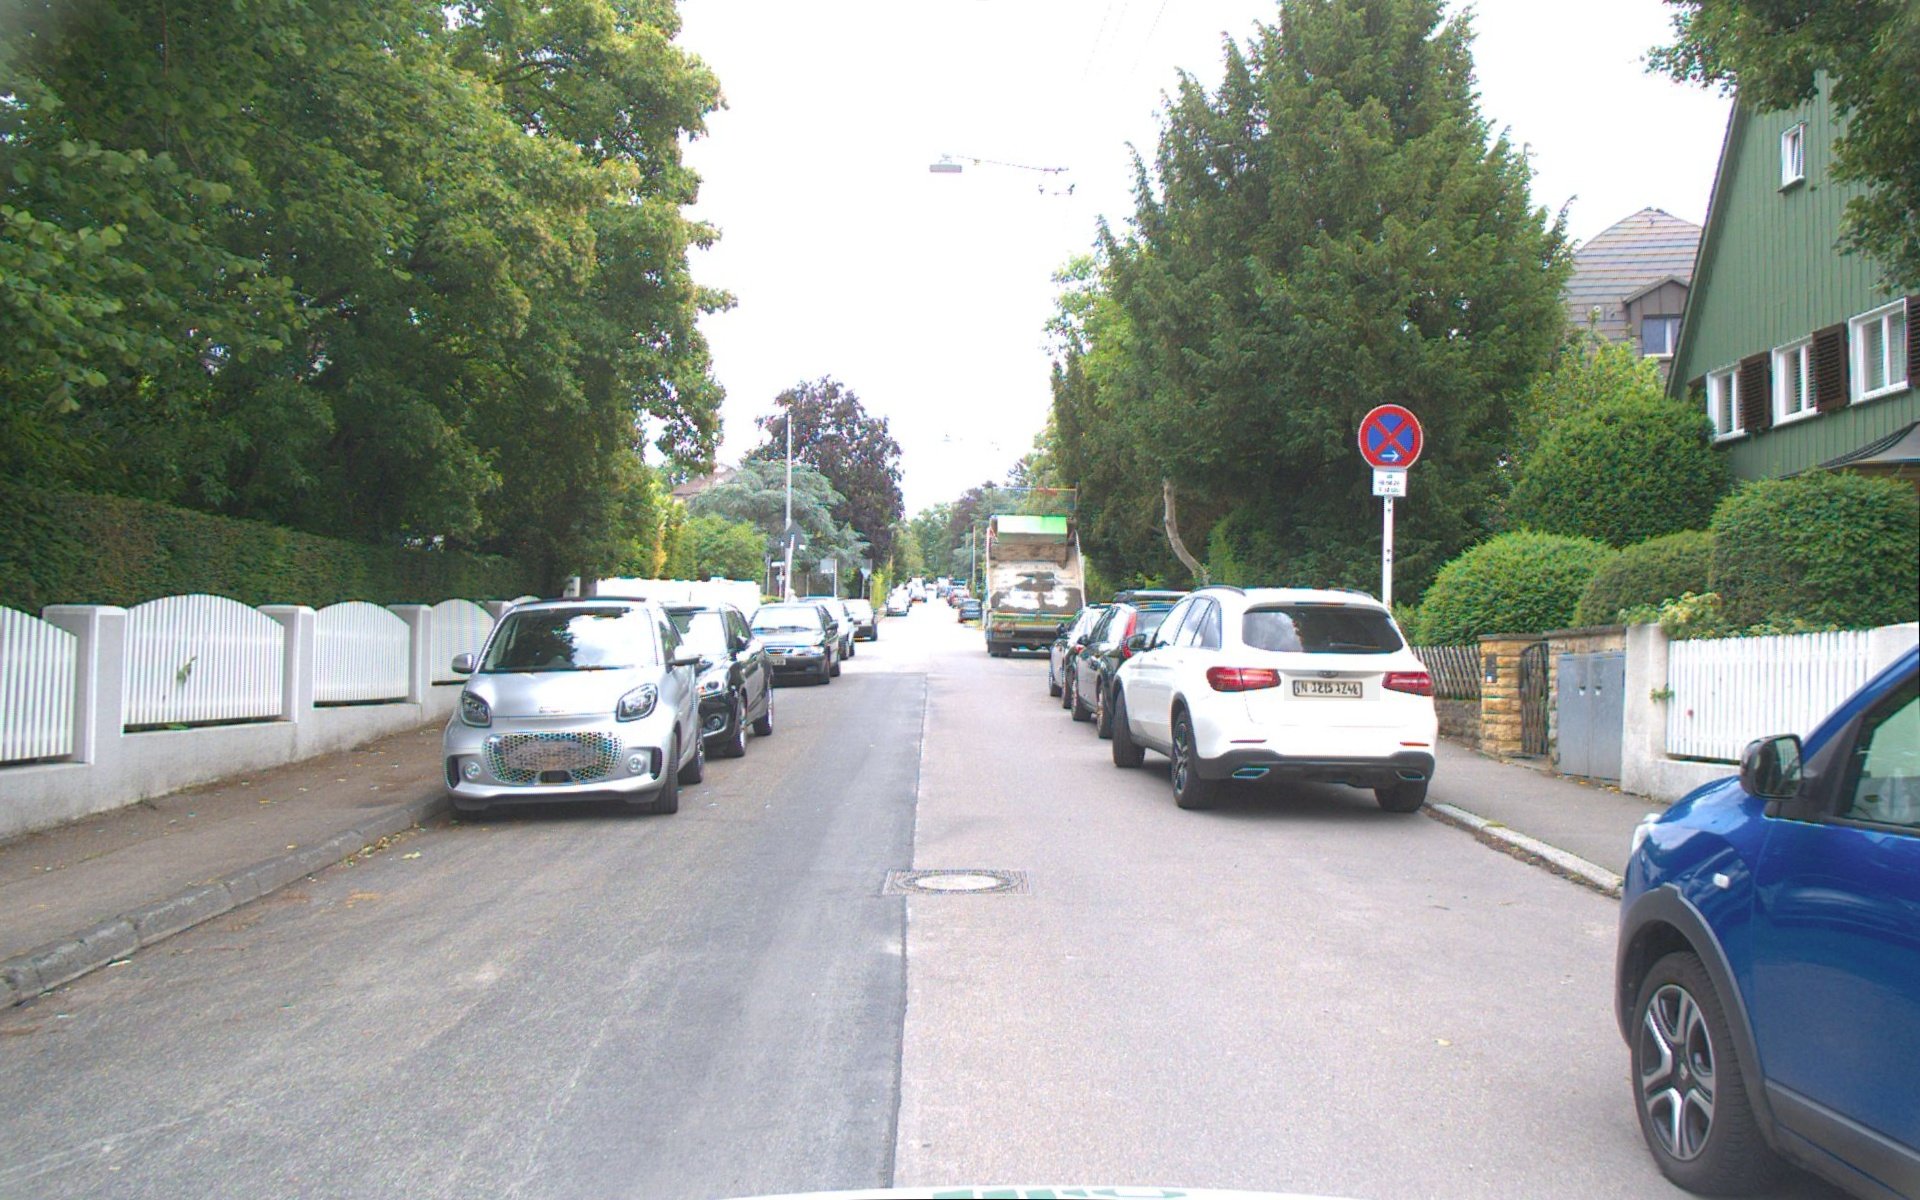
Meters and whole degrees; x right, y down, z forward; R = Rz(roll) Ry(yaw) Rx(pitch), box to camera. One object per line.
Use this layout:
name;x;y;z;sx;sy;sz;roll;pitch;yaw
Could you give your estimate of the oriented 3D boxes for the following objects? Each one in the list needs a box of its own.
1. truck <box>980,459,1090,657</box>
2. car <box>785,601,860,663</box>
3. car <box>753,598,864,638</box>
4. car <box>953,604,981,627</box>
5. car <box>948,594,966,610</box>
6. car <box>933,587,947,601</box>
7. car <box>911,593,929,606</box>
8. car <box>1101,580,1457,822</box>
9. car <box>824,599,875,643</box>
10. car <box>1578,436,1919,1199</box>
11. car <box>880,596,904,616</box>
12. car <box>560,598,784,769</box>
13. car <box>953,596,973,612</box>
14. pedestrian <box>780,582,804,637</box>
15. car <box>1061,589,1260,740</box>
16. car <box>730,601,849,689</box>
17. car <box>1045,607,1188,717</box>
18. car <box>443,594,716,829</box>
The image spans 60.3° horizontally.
truck;1.895;-1.032;44.412;2.473;4.831;7.186;1;0;0
car;-3.422;0.771;41.708;1.563;1.458;4.000;-1;0;0
car;-5.914;0.676;64.614;3.902;1.469;1.828;1;0;15
car;0.456;1.041;114.008;1.743;1.515;3.998;1;0;-2
car;-0.307;0.191;166.515;1.753;1.556;3.734;1;0;0
car;-2.494;-0.732;207.625;1.601;1.731;3.493;1;0;-2
car;-4.470;-0.022;183.224;1.692;1.432;3.805;0;0;3
car;2.409;0.706;13.718;1.723;1.634;4.571;2;0;-5
car;-3.802;0.711;57.468;1.604;1.419;3.987;-2;0;-2
car;2.794;0.628;2.976;1.648;1.861;4.155;2;0;-2
car;-5.495;0.488;133.897;1.676;1.613;4.001;1;0;2
car;-2.852;0.766;17.155;1.621;1.507;3.887;-2;0;-1
car;0.261;0.399;157.695;1.774;1.359;3.631;2;1;-2
pedestrian;-6.385;0.349;62.990;0.835;2.049;0.700;2;-1;-6
car;2.265;0.692;19.734;1.664;1.598;4.306;0;0;-3
car;-3.049;0.764;30.425;1.607;1.447;4.550;-2;0;1
car;2.256;0.860;24.909;1.618;1.449;4.660;2;0;-1
car;-2.826;0.760;12.846;1.590;1.560;2.960;-2;0;-4
